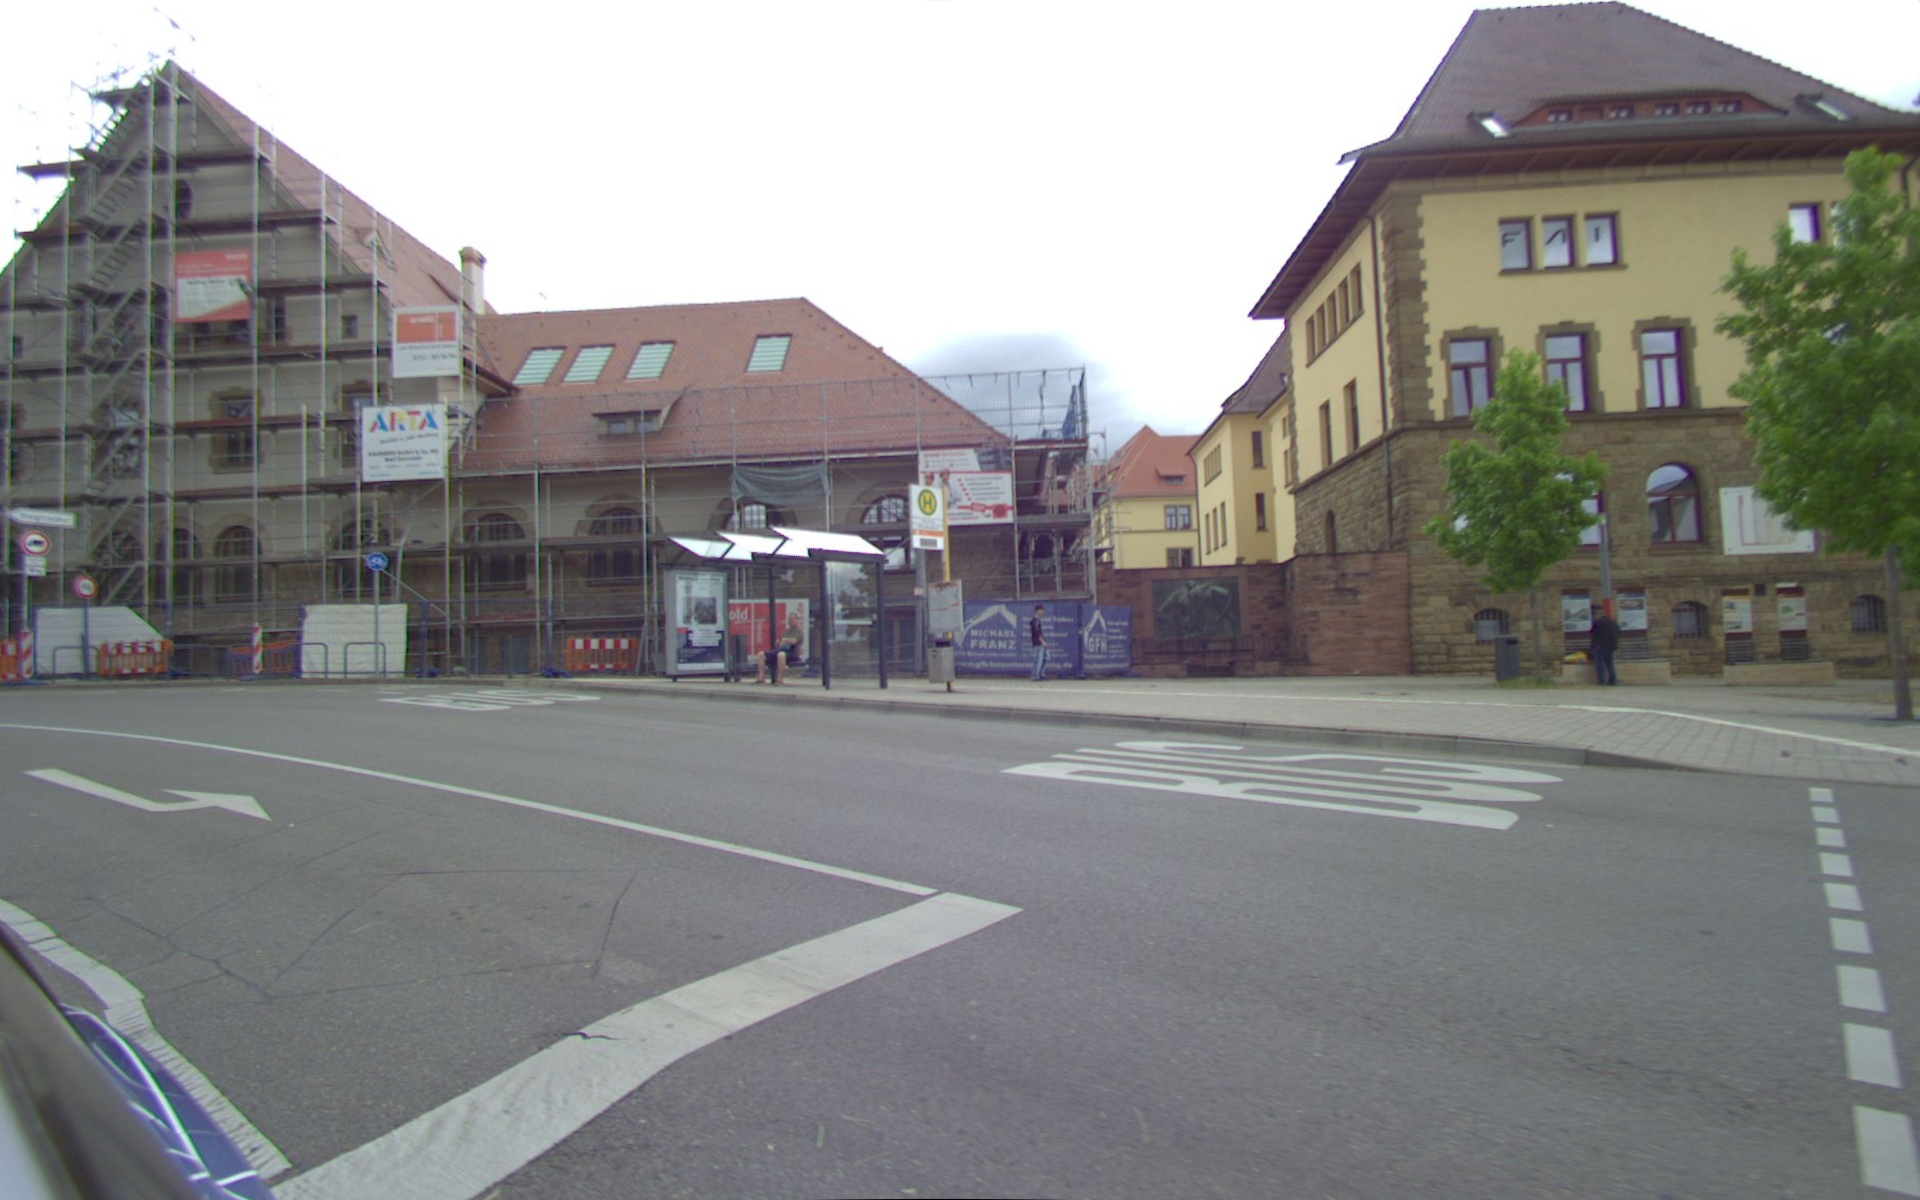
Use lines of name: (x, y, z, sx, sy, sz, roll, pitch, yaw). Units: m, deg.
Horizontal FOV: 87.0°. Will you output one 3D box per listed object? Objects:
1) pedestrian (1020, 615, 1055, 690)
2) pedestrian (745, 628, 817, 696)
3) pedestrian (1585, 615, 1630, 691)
pedestrian: (1.838, 1.218, 23.914, 0.789, 1.733, 0.924, 0, -2, 6)
pedestrian: (-3.308, 1.145, 18.696, 0.902, 1.201, 0.925, -1, -4, 32)
pedestrian: (13.753, 1.115, 21.506, 0.648, 1.589, 0.536, -1, -2, 19)
